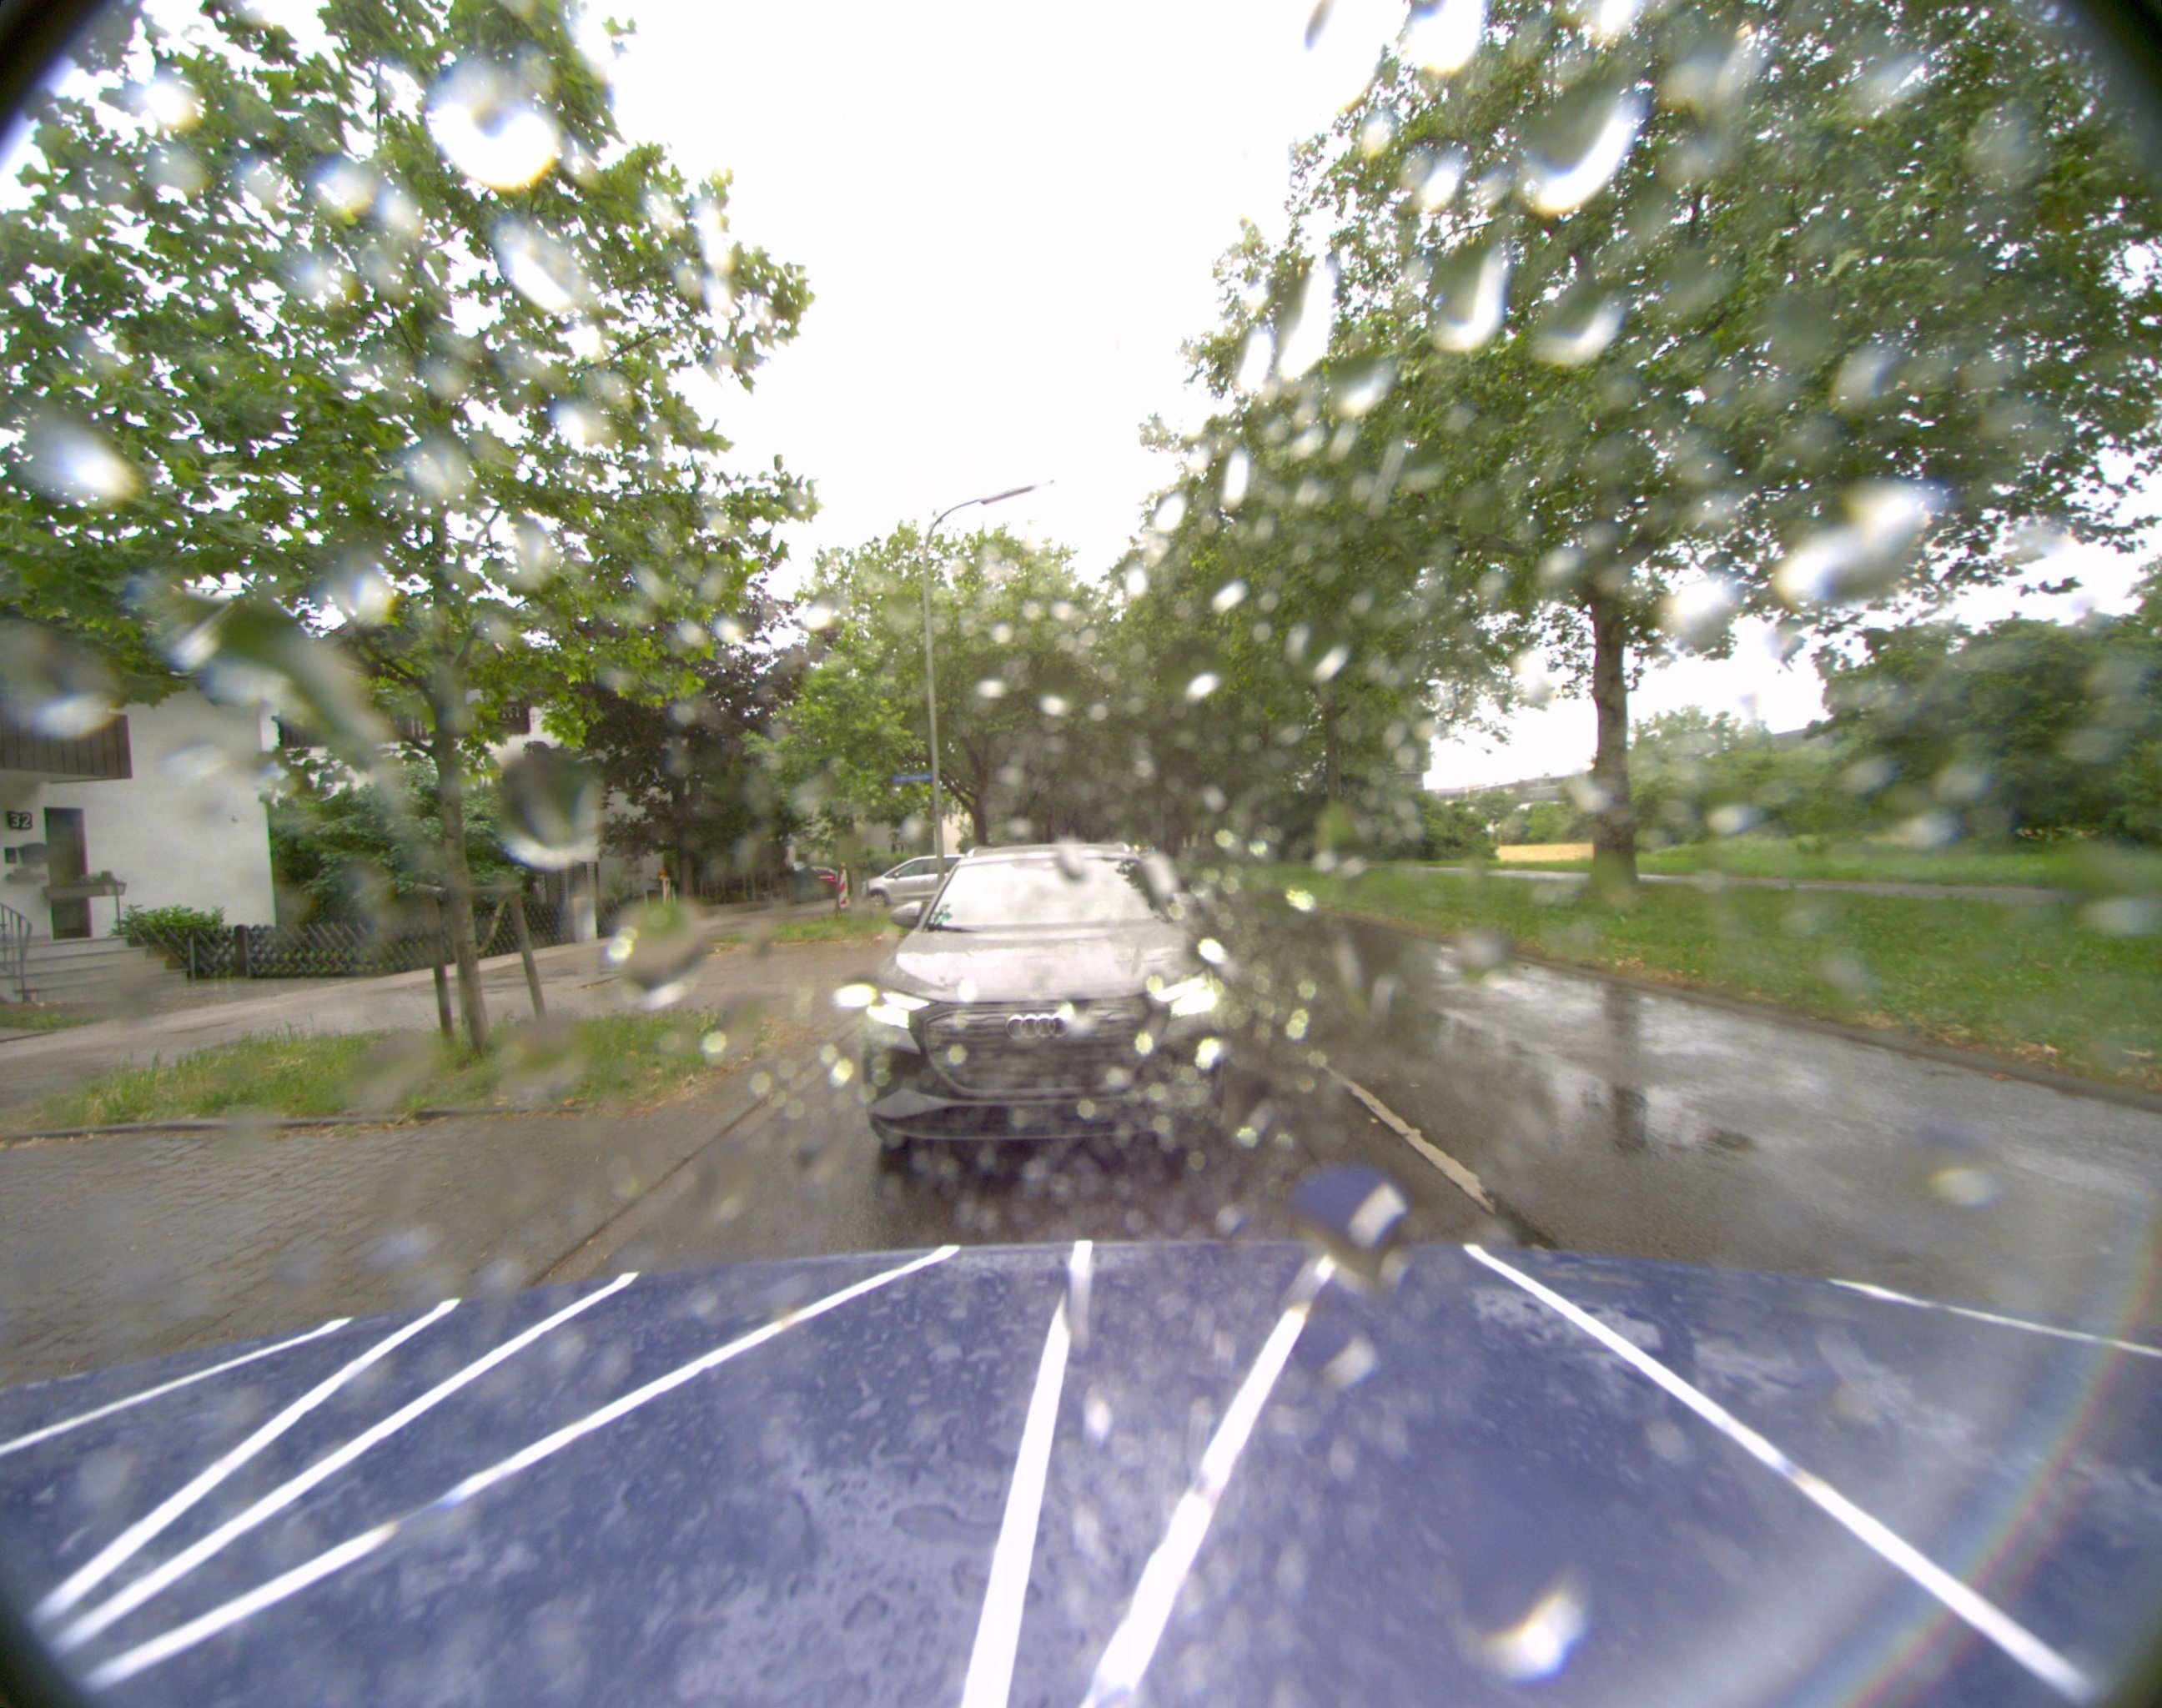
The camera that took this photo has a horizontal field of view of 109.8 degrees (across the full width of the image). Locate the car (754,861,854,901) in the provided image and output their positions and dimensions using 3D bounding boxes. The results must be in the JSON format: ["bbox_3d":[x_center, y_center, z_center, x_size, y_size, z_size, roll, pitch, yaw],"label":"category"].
[{"bbox_3d":[-12.650,1.208,34.840,3.853,1.603,1.843,-3,0,2],"label":"car"}]

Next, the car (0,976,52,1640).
[{"bbox_3d":[-4.757,1.108,0.640,4.779,1.464,1.937,-2,0,-4],"label":"car"}]

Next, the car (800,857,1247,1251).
[{"bbox_3d":[-0.213,0.880,5.494,1.862,1.608,4.423,-3,0,1],"label":"car"}]

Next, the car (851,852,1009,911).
[{"bbox_3d":[-4.820,0.855,24.801,4.701,1.651,1.976,-3,0,-1],"label":"car"}]
